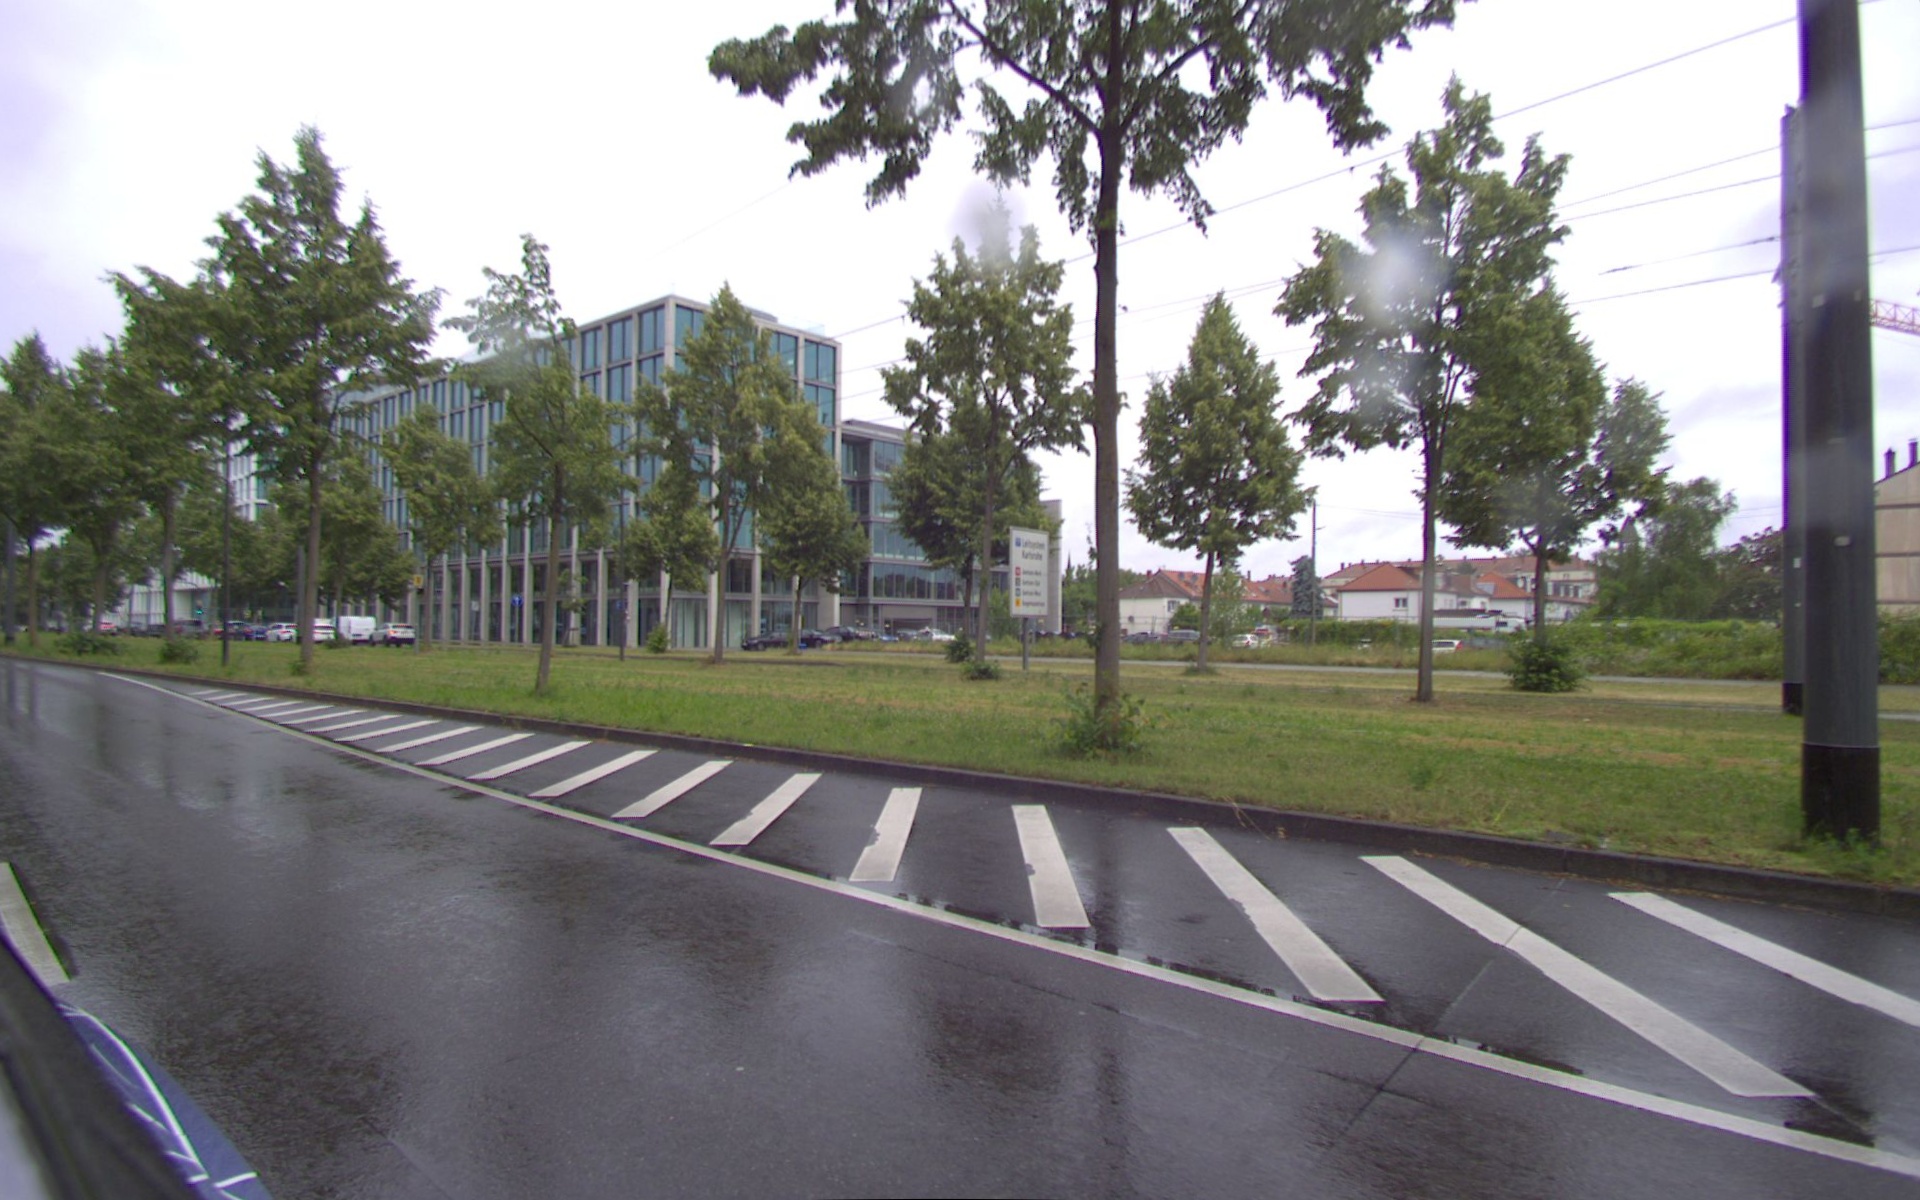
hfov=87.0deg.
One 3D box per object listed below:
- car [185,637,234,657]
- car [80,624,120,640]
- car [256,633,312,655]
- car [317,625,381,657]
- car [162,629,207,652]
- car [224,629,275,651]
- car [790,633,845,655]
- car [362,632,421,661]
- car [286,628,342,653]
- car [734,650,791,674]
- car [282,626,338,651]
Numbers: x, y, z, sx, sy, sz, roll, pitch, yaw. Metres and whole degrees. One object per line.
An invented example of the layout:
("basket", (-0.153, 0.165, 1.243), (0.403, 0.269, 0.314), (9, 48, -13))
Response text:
("car", (-58.554, 3.682, 78.923), (4.598, 1.396, 1.932), (-4, -5, 38))
("car", (-78.088, 2.921, 91.900), (4.571, 1.463, 1.931), (-1, -3, 39))
("car", (-47.106, 3.047, 70.502), (4.571, 1.525, 1.931), (-1, -3, 39))
("car", (-42.633, 2.876, 70.591), (5.368, 2.022, 2.245), (-4, -5, 40))
("car", (-65.334, 3.397, 85.205), (4.537, 1.863, 1.932), (-3, -4, 39))
("car", (-52.424, 2.962, 74.662), (3.955, 1.506, 1.933), (-4, -5, 37))
("car", (-9.011, 2.765, 63.729), (3.660, 1.249, 1.484), (-5, -5, 44))
("car", (-36.631, 2.958, 65.129), (4.575, 1.762, 1.930), (-2, -3, 42))
("car", (-42.327, 2.697, 66.274), (4.830, 1.472, 1.929), (-5, -5, 43))
("car", (-14.181, 4.453, 72.831), (1.744, 1.621, 3.747), (-5, -5, 42))
("car", (-48.556, 2.878, 75.555), (5.021, 1.664, 1.932), (-4, -5, 37))
